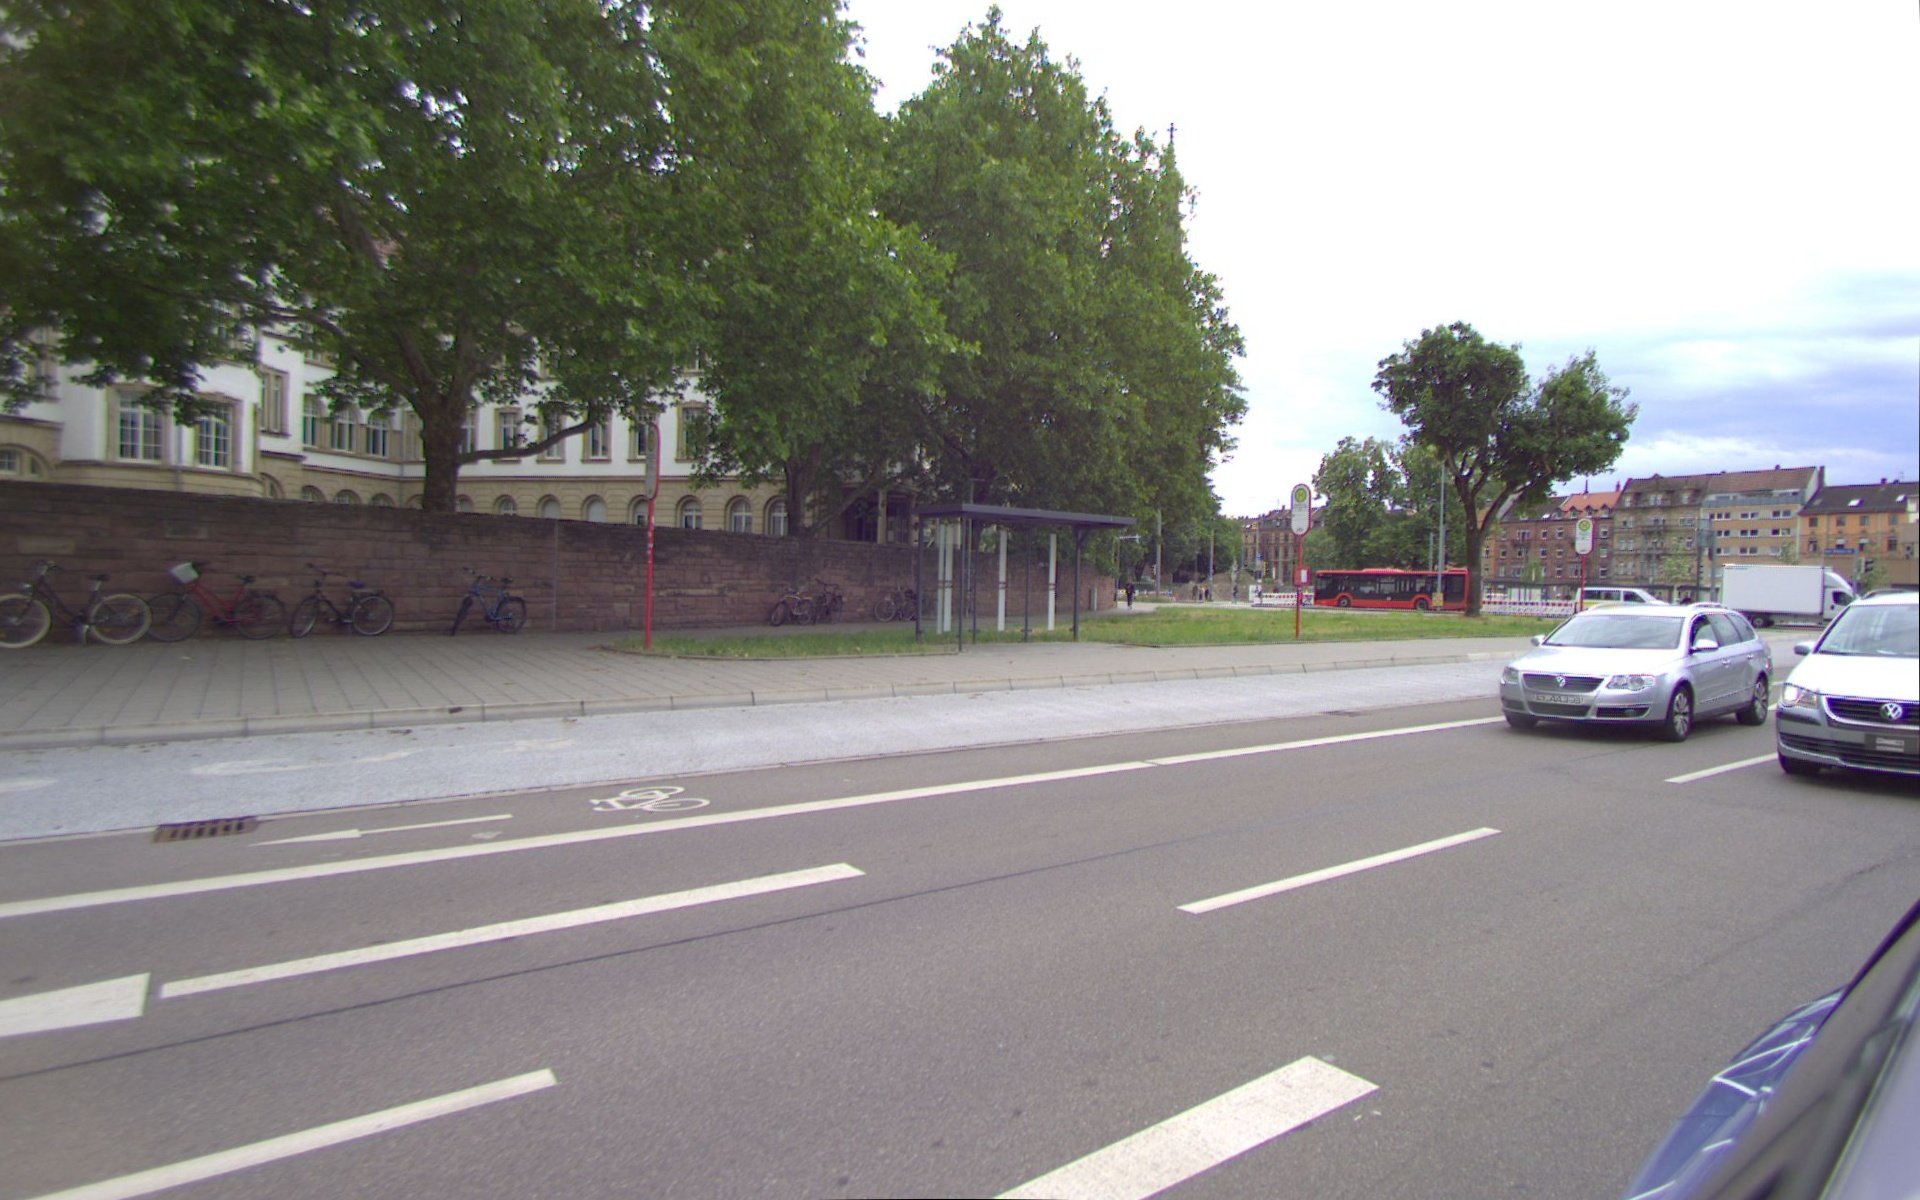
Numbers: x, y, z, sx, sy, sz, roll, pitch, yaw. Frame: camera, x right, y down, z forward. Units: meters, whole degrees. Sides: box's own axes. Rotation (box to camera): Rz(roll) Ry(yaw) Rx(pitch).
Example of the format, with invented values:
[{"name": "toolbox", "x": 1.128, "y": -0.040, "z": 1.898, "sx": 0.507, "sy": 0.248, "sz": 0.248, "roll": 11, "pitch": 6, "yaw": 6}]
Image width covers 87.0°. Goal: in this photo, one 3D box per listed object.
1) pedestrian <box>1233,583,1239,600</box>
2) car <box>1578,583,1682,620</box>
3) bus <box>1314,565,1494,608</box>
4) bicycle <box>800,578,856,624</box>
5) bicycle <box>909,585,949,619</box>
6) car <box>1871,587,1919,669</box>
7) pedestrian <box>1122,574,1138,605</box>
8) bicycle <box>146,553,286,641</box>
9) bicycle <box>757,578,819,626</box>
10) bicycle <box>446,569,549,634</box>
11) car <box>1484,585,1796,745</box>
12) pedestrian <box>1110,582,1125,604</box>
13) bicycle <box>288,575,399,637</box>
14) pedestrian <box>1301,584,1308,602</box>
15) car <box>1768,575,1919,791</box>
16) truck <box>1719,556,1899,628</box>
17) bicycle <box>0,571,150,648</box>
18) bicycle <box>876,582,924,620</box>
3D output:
[{"name": "pedestrian", "x": 27.067, "y": -0.839, "z": 99.333, "sx": 0.365, "sy": 1.726, "sz": 0.373, "roll": 1, "pitch": 2, "yaw": -37}, {"name": "car", "x": 38.699, "y": 0.041, "z": 58.542, "sx": 1.887, "sy": 1.942, "sz": 4.710, "roll": -3, "pitch": 3, "yaw": -39}, {"name": "bus", "x": 32.386, "y": -1.075, "z": 74.582, "sx": 2.885, "sy": 2.944, "sz": 12.085, "roll": 1, "pitch": 1, "yaw": -39}, {"name": "bicycle", "x": -3.513, "y": 0.015, "z": 27.062, "sx": 0.590, "sy": 1.143, "sz": 1.697, "roll": 3, "pitch": 2, "yaw": 28}, {"name": "bicycle", "x": -0.947, "y": 0.039, "z": 31.473, "sx": 0.545, "sy": 1.004, "sz": 1.623, "roll": 3, "pitch": 2, "yaw": 25}, {"name": "car", "x": 21.072, "y": 0.570, "z": 21.401, "sx": 4.407, "sy": 1.645, "sz": 1.912, "roll": 0, "pitch": 0, "yaw": -37}, {"name": "pedestrian", "x": 9.734, "y": -0.606, "z": 58.060, "sx": 0.744, "sy": 1.756, "sz": 0.822, "roll": 3, "pitch": 2, "yaw": 5}, {"name": "bicycle", "x": -11.178, "y": -0.049, "z": 15.246, "sx": 0.497, "sy": 1.236, "sz": 1.606, "roll": 4, "pitch": 2, "yaw": 36}, {"name": "bicycle", "x": -4.321, "y": 0.041, "z": 25.546, "sx": 0.590, "sy": 1.150, "sz": 1.697, "roll": 3, "pitch": 2, "yaw": 28}, {"name": "bicycle", "x": -8.504, "y": 0.022, "z": 18.650, "sx": 0.594, "sy": 1.118, "sz": 1.635, "roll": 4, "pitch": 2, "yaw": 34}, {"name": "car", "x": 8.299, "y": 0.629, "z": 12.208, "sx": 4.444, "sy": 1.570, "sz": 1.829, "roll": -1, "pitch": 1, "yaw": -38}, {"name": "pedestrian", "x": 11.859, "y": -0.525, "z": 76.291, "sx": 0.678, "sy": 1.659, "sz": 0.875, "roll": 2, "pitch": 0, "yaw": -22}, {"name": "bicycle", "x": -10.139, "y": 0.089, "z": 16.691, "sx": 0.415, "sy": 0.954, "sz": 1.505, "roll": 4, "pitch": 2, "yaw": 36}, {"name": "pedestrian", "x": 28.235, "y": -0.592, "z": 82.912, "sx": 0.366, "sy": 1.484, "sz": 0.372, "roll": 1, "pitch": 2, "yaw": -37}, {"name": "car", "x": 8.832, "y": 0.635, "z": 8.820, "sx": 4.027, "sy": 1.623, "sz": 1.735, "roll": 1, "pitch": 0, "yaw": -35}, {"name": "truck", "x": 43.781, "y": -0.493, "z": 52.398, "sx": 2.516, "sy": 3.453, "sz": 6.845, "roll": -1, "pitch": 2, "yaw": -41}, {"name": "bicycle", "x": -12.192, "y": 0.116, "z": 13.751, "sx": 0.652, "sy": 0.963, "sz": 1.747, "roll": 4, "pitch": 2, "yaw": 36}, {"name": "bicycle", "x": -1.759, "y": 0.023, "z": 29.968, "sx": 0.590, "sy": 1.072, "sz": 1.697, "roll": 3, "pitch": 2, "yaw": 28}]
